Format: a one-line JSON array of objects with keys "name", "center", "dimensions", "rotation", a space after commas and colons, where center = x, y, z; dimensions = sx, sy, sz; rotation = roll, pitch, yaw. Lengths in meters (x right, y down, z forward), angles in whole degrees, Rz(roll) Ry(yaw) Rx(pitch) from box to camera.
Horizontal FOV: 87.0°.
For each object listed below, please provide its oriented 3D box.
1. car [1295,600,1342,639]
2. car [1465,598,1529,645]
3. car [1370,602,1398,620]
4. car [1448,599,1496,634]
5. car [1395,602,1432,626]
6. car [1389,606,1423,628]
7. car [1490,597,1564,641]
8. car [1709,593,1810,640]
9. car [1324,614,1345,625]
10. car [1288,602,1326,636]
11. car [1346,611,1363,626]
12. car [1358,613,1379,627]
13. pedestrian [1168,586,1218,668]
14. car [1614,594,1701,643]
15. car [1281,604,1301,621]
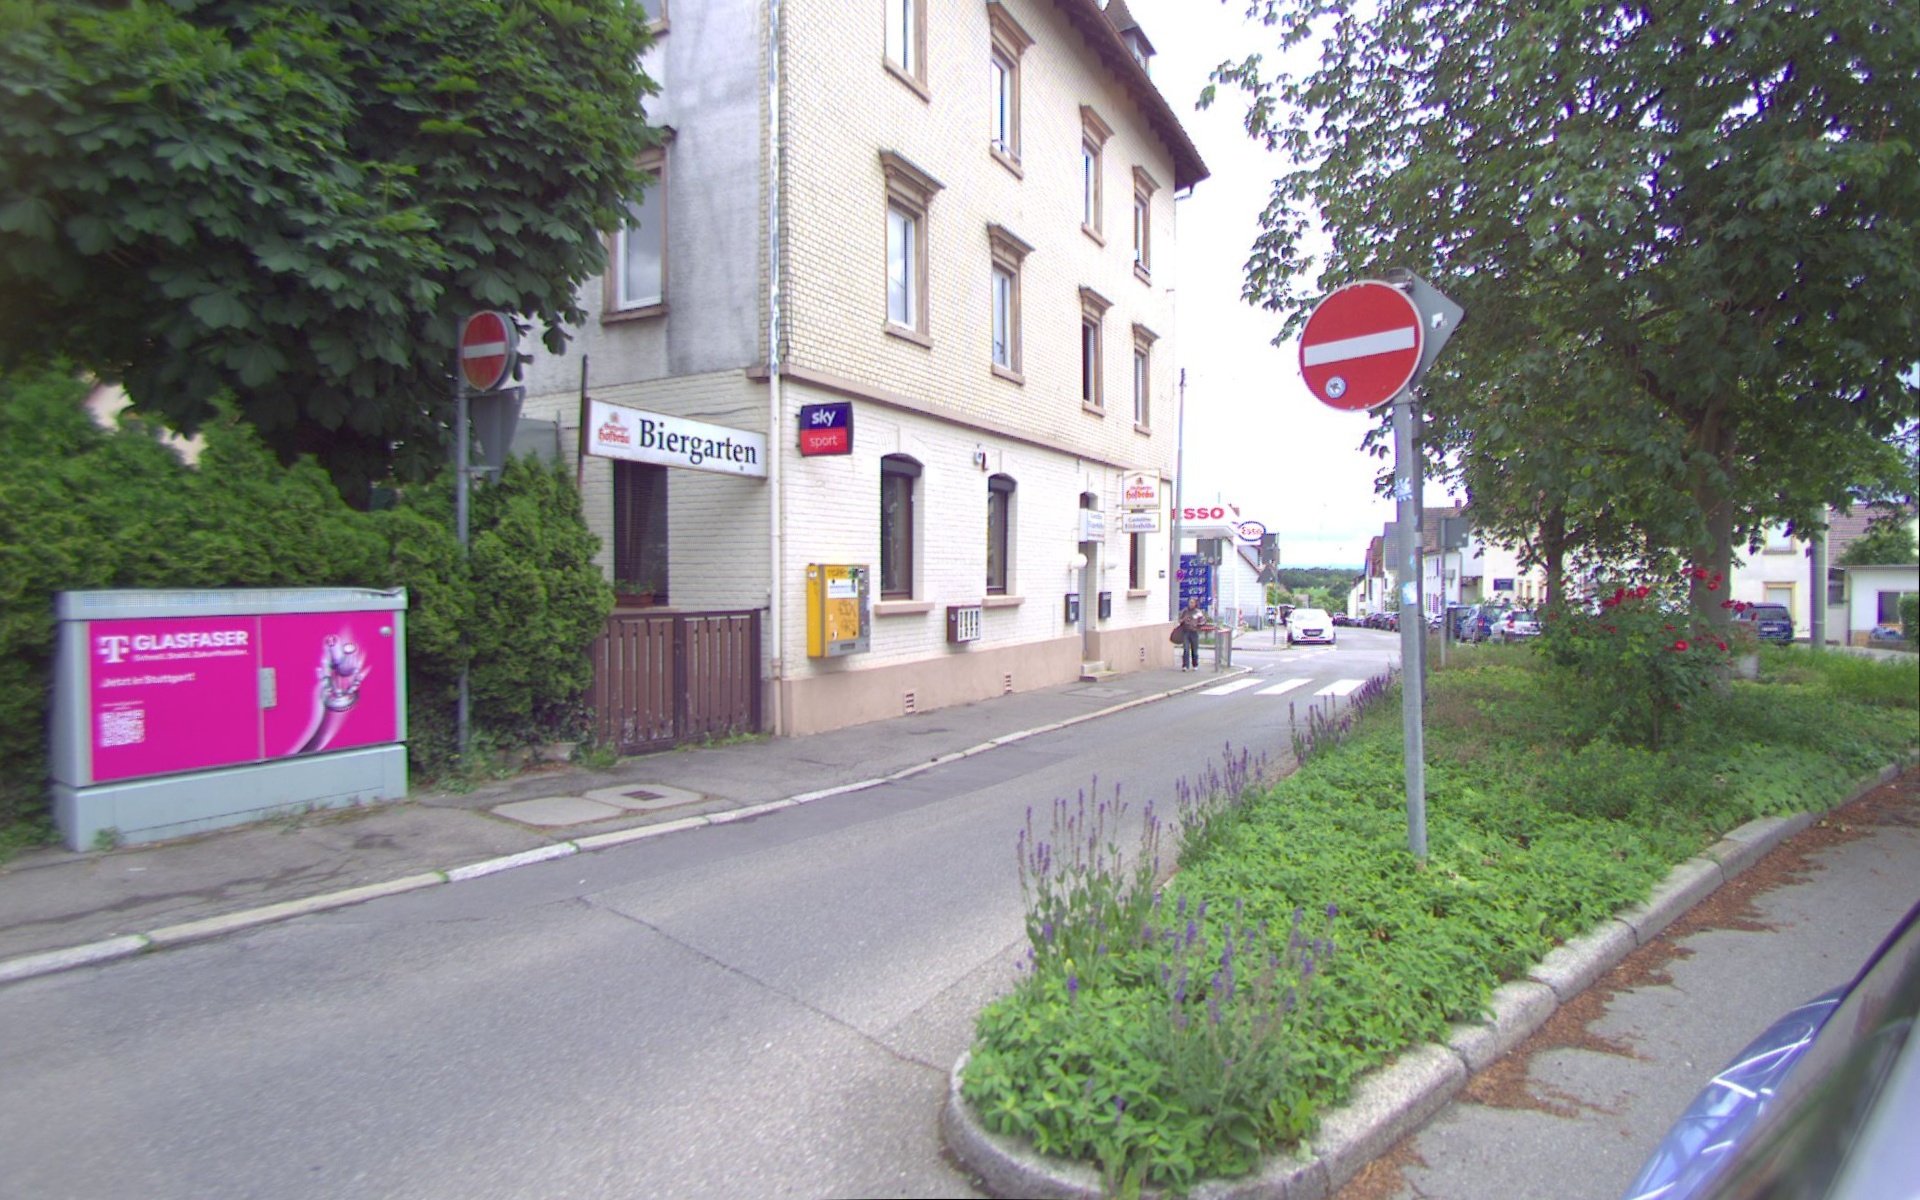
[{"name": "car", "center": [15.245, 0.826, 43.172], "dimensions": [1.752, 1.498, 3.806], "rotation": [3, -1, 19]}, {"name": "car", "center": [24.438, 0.984, 46.173], "dimensions": [1.752, 1.968, 4.297], "rotation": [3, -1, 18]}, {"name": "car", "center": [42.592, 1.126, 101.749], "dimensions": [2.253, 1.753, 3.974], "rotation": [0, -2, 19]}, {"name": "car", "center": [26.873, 0.874, 53.208], "dimensions": [1.700, 1.753, 3.974], "rotation": [0, -2, 19]}, {"name": "car", "center": [34.731, 1.100, 77.565], "dimensions": [2.253, 1.753, 3.974], "rotation": [0, -2, 19]}, {"name": "car", "center": [36.702, 1.390, 83.409], "dimensions": [2.253, 1.753, 3.974], "rotation": [0, -2, 19]}, {"name": "car", "center": [22.421, 0.760, 40.161], "dimensions": [1.751, 1.639, 3.975], "rotation": [0, -2, 18]}, {"name": "car", "center": [31.154, 0.667, 39.582], "dimensions": [1.845, 1.750, 3.974], "rotation": [0, -2, 19]}, {"name": "car", "center": [70.164, 3.708, 189.388], "dimensions": [3.928, 2.040, 1.997], "rotation": [2, -2, -40]}, {"name": "car", "center": [16.444, 0.866, 47.926], "dimensions": [1.607, 1.493, 3.744], "rotation": [1, 1, 20]}, {"name": "car", "center": [54.787, 2.518, 140.575], "dimensions": [1.973, 2.040, 3.977], "rotation": [0, -2, 17]}, {"name": "car", "center": [50.126, 2.465, 124.239], "dimensions": [2.253, 1.753, 3.974], "rotation": [0, -2, 19]}, {"name": "pedestrian", "center": [5.171, 0.599, 22.418], "dimensions": [0.852, 1.755, 1.012], "rotation": [-1, -2, 27]}, {"name": "car", "center": [27.560, 0.753, 40.135], "dimensions": [1.881, 1.826, 4.852], "rotation": [-1, -2, 24]}, {"name": "car", "center": [32.636, 1.198, 99.680], "dimensions": [1.852, 1.616, 3.875], "rotation": [0, -2, 19]}]
